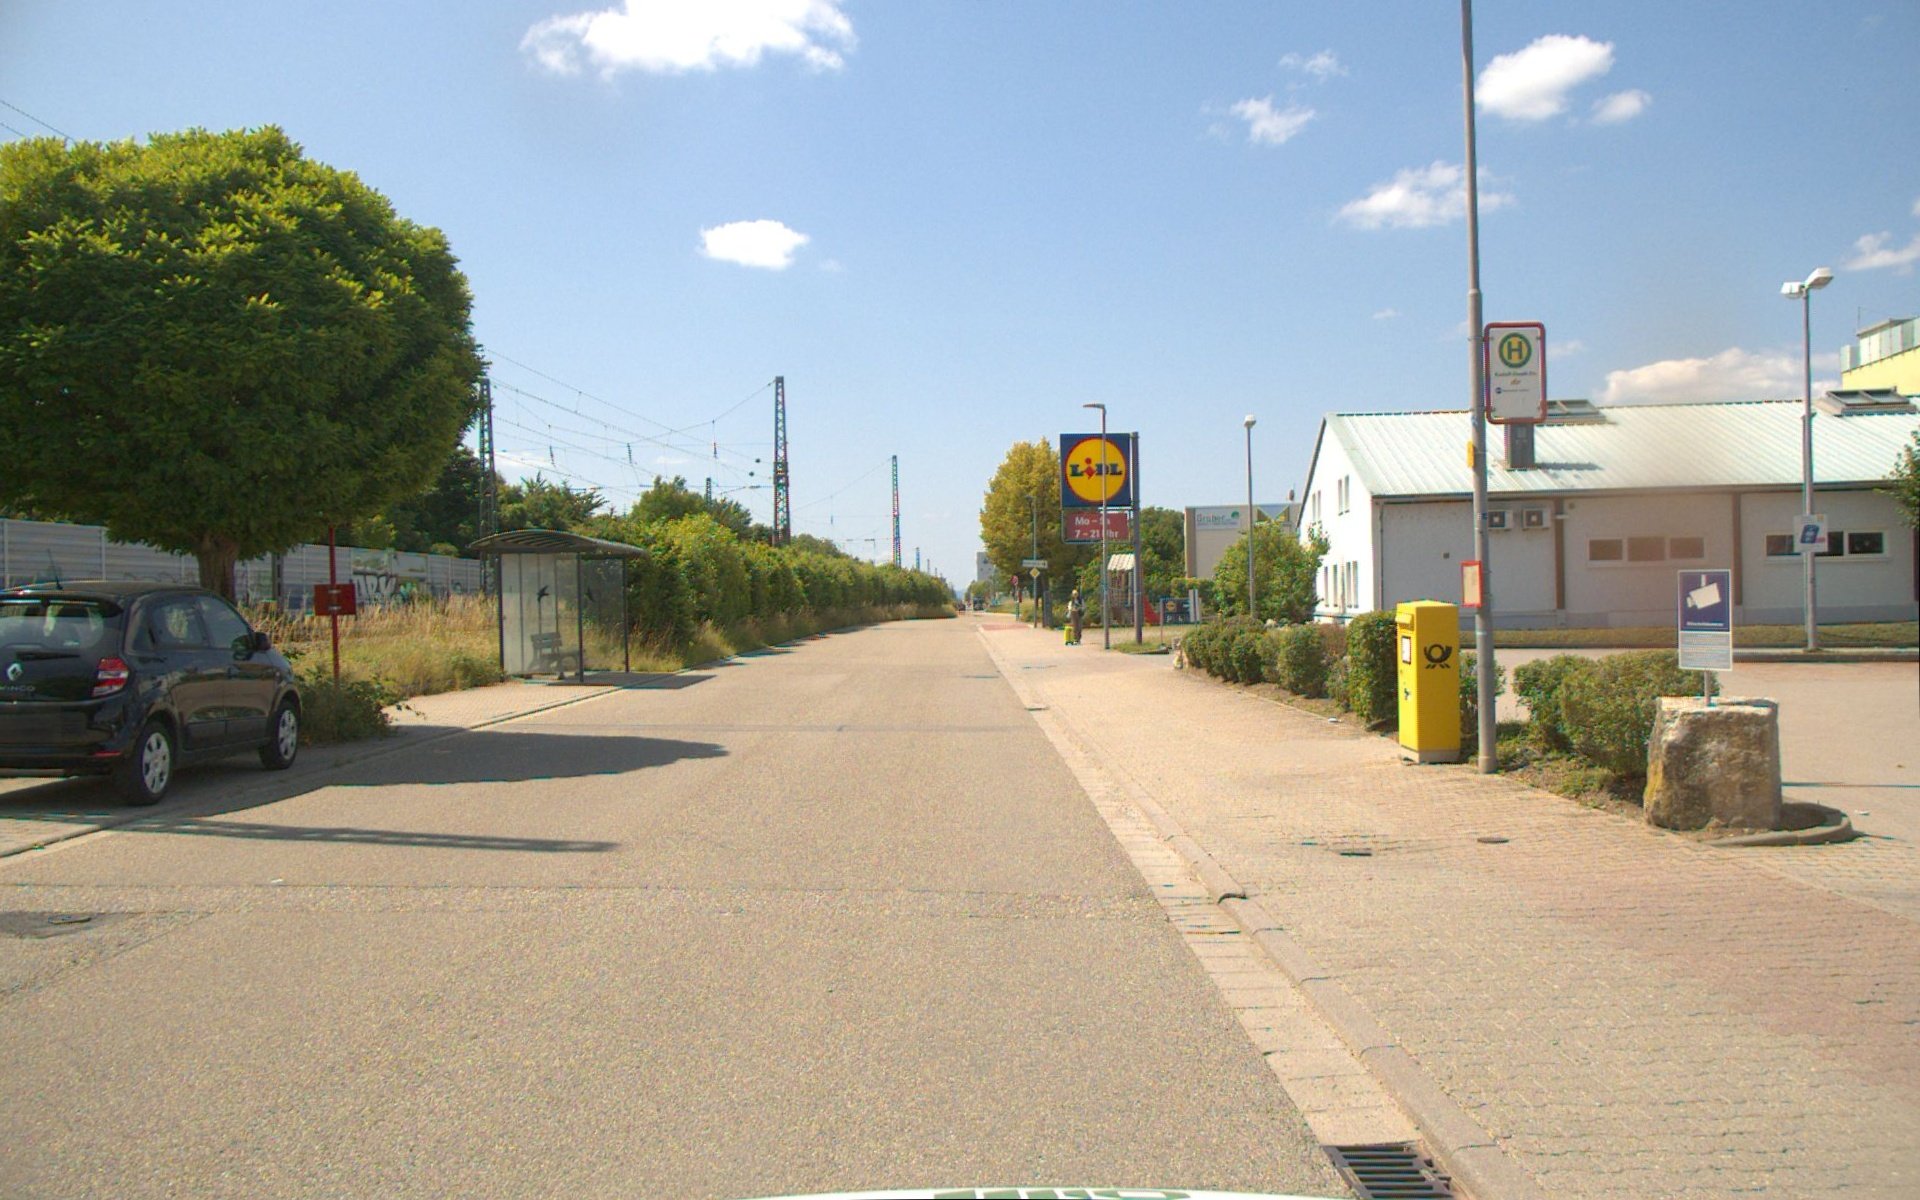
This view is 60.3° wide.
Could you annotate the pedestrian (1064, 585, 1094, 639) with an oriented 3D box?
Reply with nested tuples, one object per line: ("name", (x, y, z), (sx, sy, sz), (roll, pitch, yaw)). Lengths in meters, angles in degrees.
("pedestrian", (3.622, 0.353, 50.419), (0.746, 1.630, 1.209), (-1, 0, -3))

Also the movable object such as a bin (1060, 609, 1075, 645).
("movable object such as a bin", (3.246, 0.813, 49.967), (0.367, 1.047, 0.498), (-2, 0, -4))

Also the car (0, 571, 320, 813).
("car", (-6.487, 0.617, 12.923), (1.707, 1.624, 3.577), (0, 0, -3))
